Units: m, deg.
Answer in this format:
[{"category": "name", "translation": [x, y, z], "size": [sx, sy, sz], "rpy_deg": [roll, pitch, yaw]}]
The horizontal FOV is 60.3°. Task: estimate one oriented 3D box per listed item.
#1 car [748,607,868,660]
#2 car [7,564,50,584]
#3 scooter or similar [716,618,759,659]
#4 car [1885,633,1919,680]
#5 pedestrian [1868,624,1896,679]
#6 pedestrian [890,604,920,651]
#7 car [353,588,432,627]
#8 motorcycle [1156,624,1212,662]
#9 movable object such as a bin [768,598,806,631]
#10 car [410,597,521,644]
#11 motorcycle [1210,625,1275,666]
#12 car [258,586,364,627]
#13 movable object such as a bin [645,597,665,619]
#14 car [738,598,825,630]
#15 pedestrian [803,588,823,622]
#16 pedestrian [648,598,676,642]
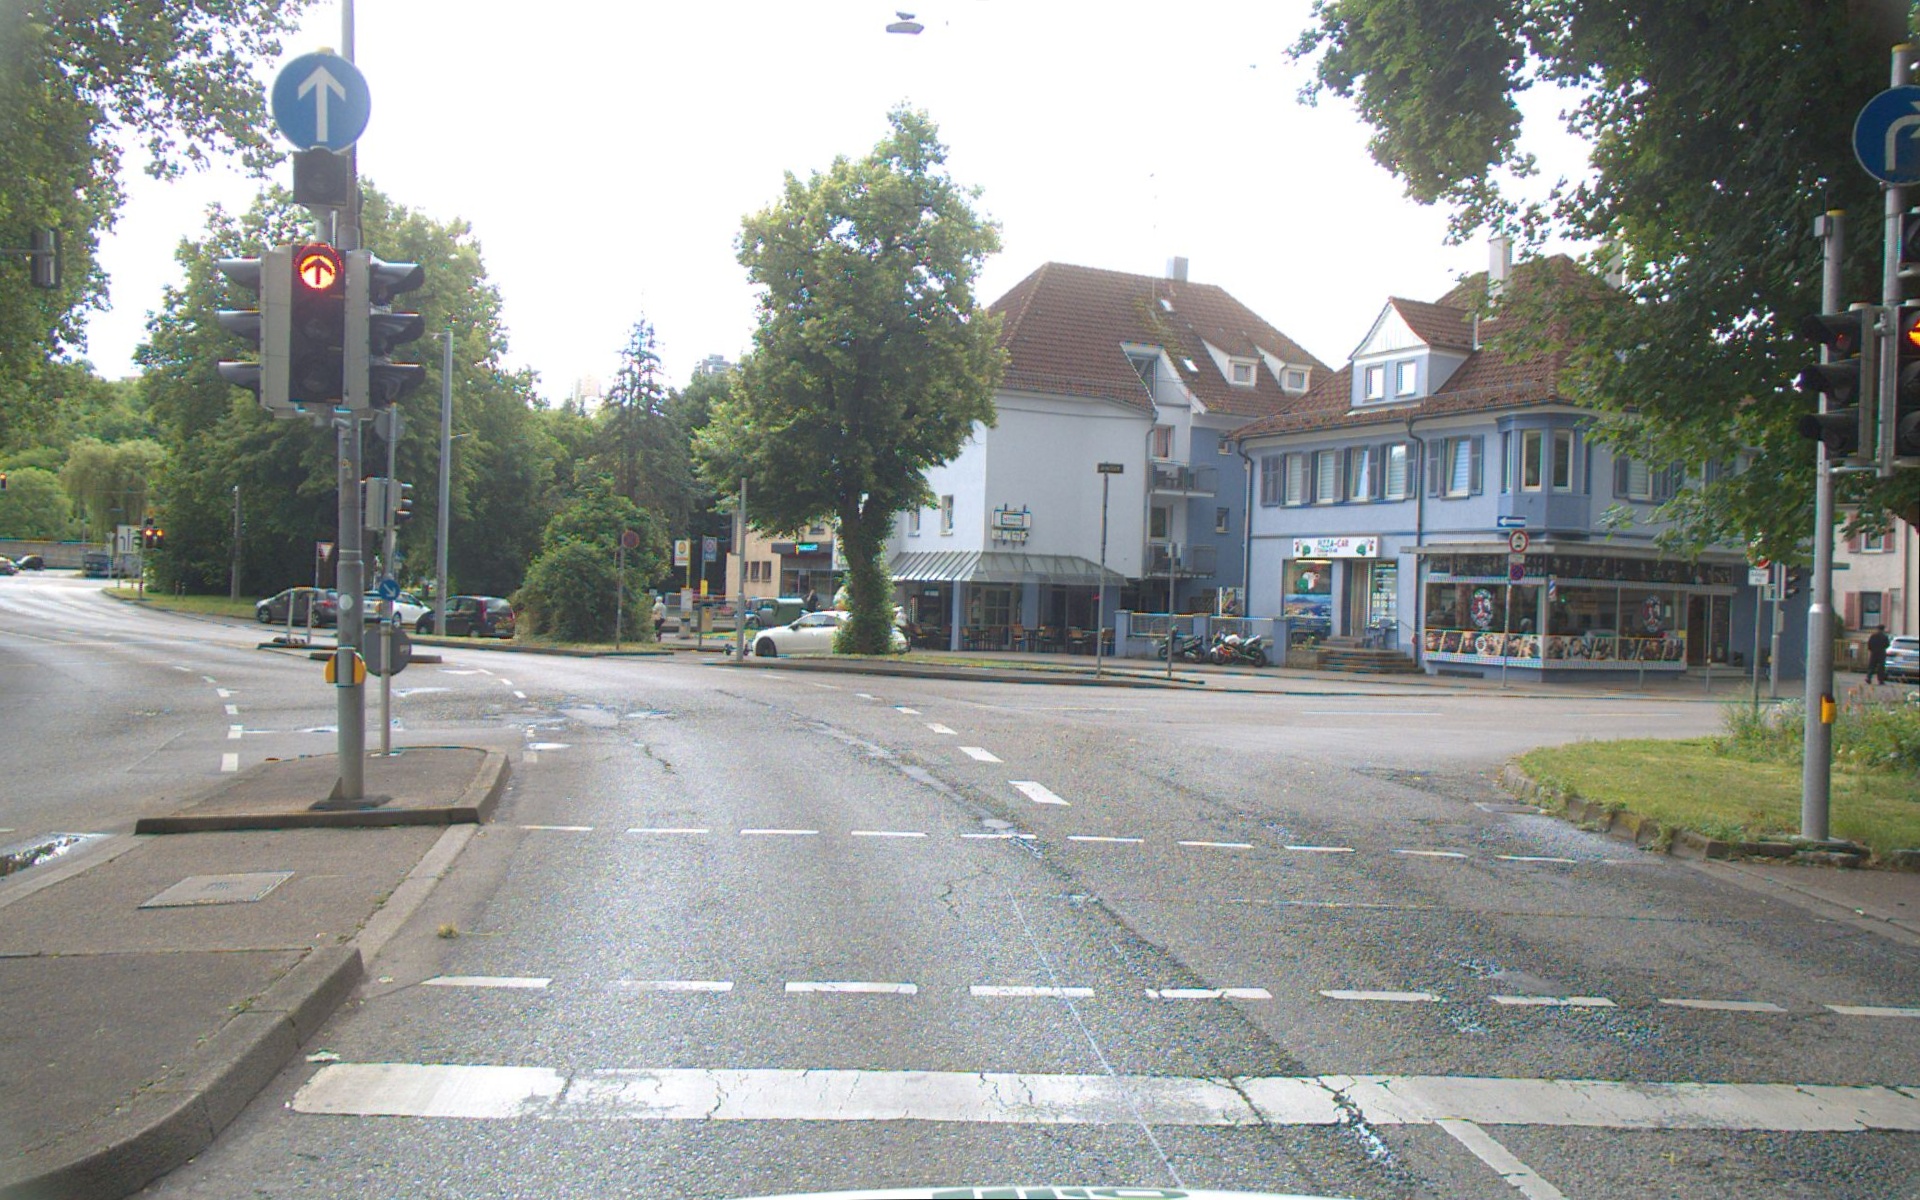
[{"category": "car", "translation": [-4.241, 0.919, 45.956], "size": [3.110, 1.378, 1.435], "rpy_deg": [1, 0, 34]}, {"category": "car", "translation": [-102.217, -2.825, 181.484], "size": [3.948, 2.049, 1.978], "rpy_deg": [1, 0, -32]}, {"category": "scooter or similar", "translation": [-5.726, 0.984, 42.539], "size": [0.408, 1.029, 1.567], "rpy_deg": [1, 0, 20]}, {"category": "car", "translation": [29.855, 1.741, 51.413], "size": [1.471, 1.393, 3.164], "rpy_deg": [1, 0, 38]}, {"category": "pedestrian", "translation": [26.463, 1.475, 47.458], "size": [0.455, 1.544, 0.579], "rpy_deg": [1, -1, -40]}, {"category": "pedestrian", "translation": [-1.842, 0.916, 55.429], "size": [0.754, 1.572, 0.675], "rpy_deg": [1, -1, 38]}, {"category": "car", "translation": [-22.665, 0.308, 66.181], "size": [1.512, 1.490, 3.398], "rpy_deg": [1, 0, 10]}, {"category": "motorcycle", "translation": [6.796, 1.295, 50.235], "size": [1.609, 1.082, 0.690], "rpy_deg": [1, 0, 44]}, {"category": "movable object such as a bin", "translation": [-7.716, 0.660, 73.839], "size": [1.424, 1.433, 0.959], "rpy_deg": [1, 0, -27]}, {"category": "car", "translation": [-16.003, 0.661, 53.459], "size": [3.519, 1.418, 1.468], "rpy_deg": [1, 0, 32]}, {"category": "motorcycle", "translation": [8.276, 1.312, 48.479], "size": [1.765, 1.141, 0.692], "rpy_deg": [1, 0, 38]}, {"category": "car", "translation": [-24.856, 0.246, 63.391], "size": [3.469, 1.490, 1.586], "rpy_deg": [1, 0, 12]}, {"category": "movable object such as a bin", "translation": [-15.851, 0.397, 85.912], "size": [0.937, 1.135, 0.381], "rpy_deg": [1, 0, -22]}, {"category": "car", "translation": [-8.155, 0.644, 75.730], "size": [3.690, 1.368, 1.421], "rpy_deg": [1, 0, -27]}, {"category": "pedestrian", "translation": [-6.910, 0.233, 77.856], "size": [0.670, 1.572, 0.699], "rpy_deg": [2, 0, -35]}, {"category": "pedestrian", "translation": [-10.696, 0.721, 59.384], "size": [0.694, 1.572, 0.675], "rpy_deg": [1, 0, 39]}]
